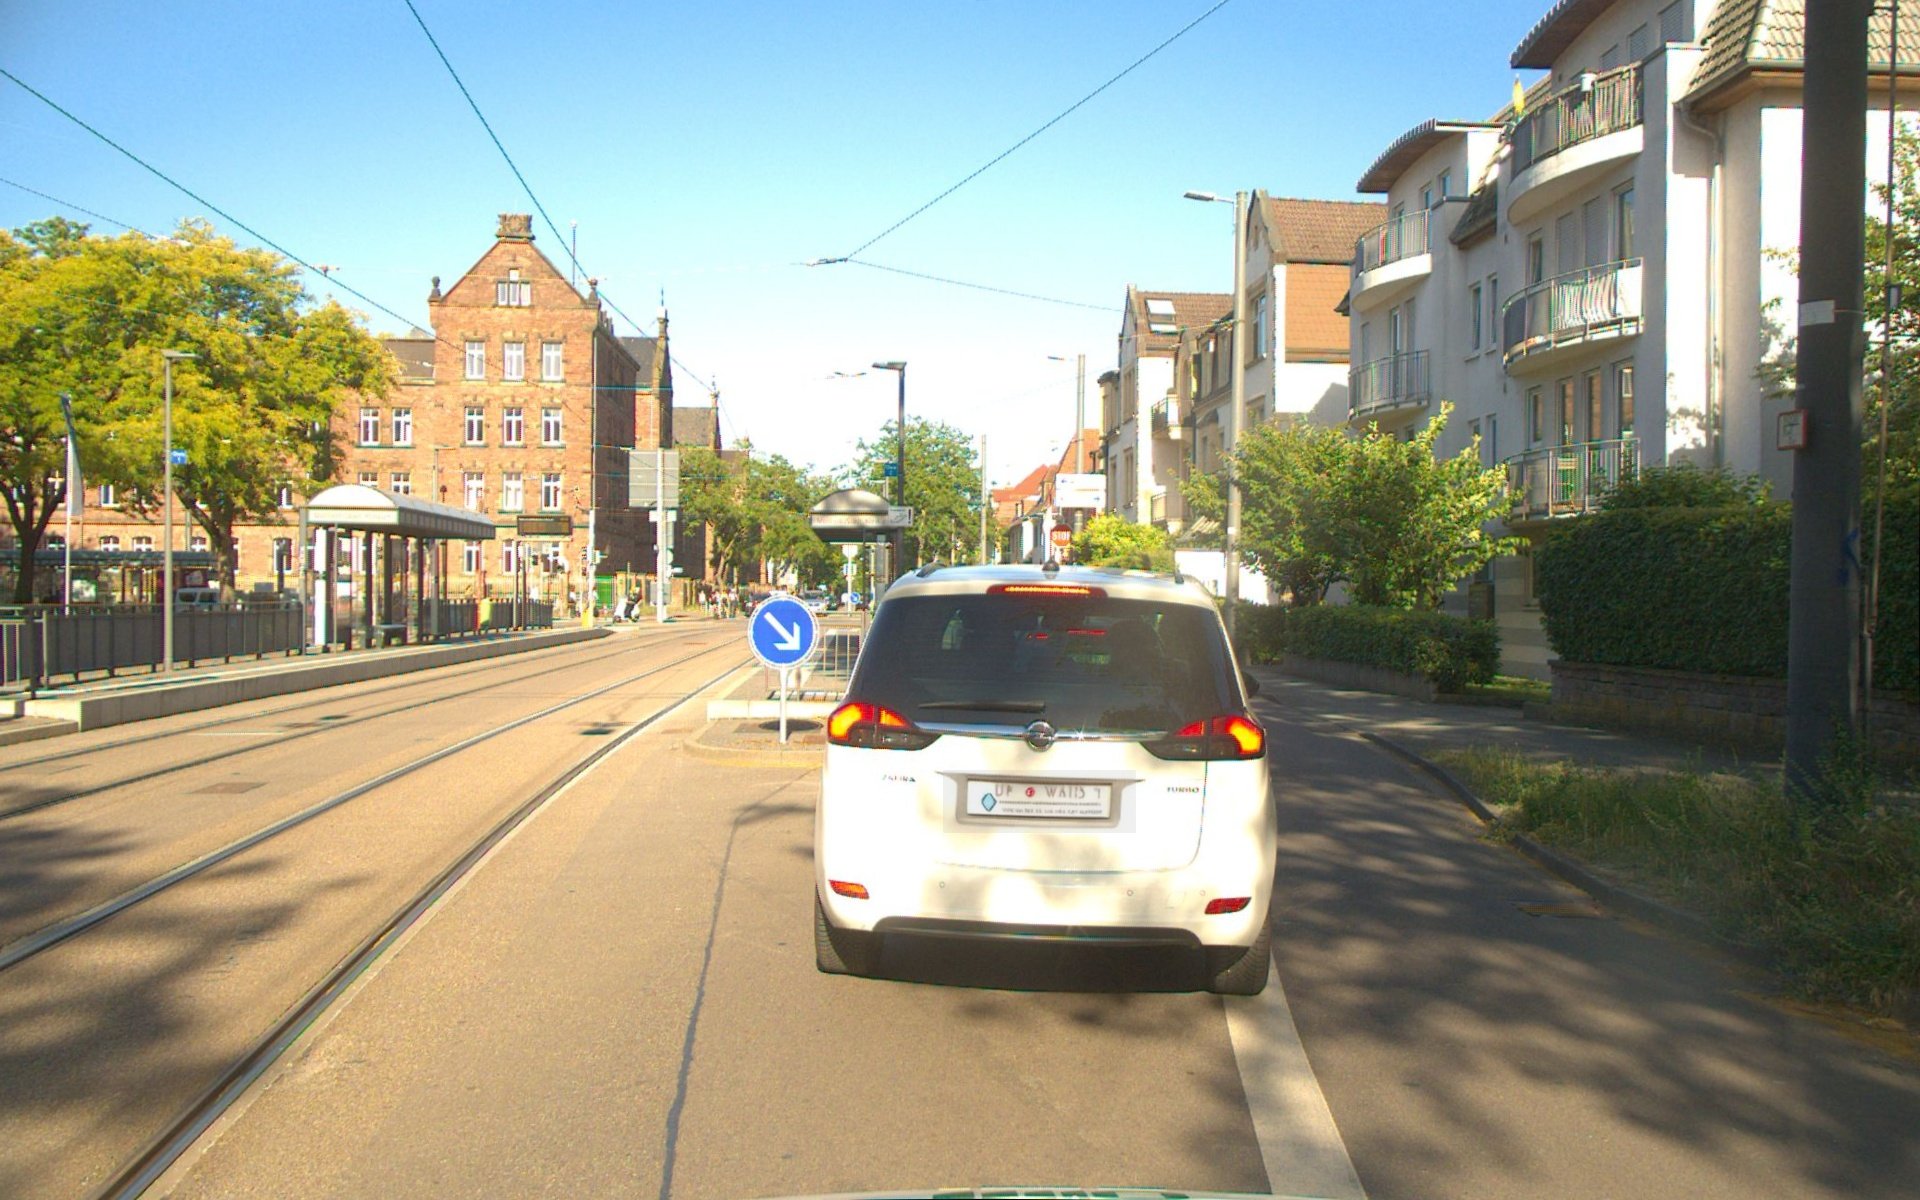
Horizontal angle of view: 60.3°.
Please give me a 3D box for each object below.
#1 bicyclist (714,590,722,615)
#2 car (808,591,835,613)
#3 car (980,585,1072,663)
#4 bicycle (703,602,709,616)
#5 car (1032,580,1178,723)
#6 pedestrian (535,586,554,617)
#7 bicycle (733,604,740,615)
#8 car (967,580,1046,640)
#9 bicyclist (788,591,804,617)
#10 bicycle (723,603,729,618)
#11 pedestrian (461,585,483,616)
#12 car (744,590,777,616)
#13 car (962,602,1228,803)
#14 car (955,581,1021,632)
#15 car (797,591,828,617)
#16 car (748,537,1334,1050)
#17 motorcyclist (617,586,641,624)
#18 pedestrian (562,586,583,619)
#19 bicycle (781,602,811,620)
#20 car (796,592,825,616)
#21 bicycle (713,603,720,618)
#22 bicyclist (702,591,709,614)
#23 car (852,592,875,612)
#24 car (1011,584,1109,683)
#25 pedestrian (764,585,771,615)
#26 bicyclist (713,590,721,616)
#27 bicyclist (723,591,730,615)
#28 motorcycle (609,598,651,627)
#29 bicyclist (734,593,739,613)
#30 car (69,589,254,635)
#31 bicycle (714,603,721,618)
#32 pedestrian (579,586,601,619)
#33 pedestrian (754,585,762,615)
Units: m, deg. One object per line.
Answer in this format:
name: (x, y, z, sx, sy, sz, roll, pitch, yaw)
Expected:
bicyclist: (-15.572, 0.180, 106.315, 0.435, 1.580, 0.495, 0, 0, -4)
car: (-10.938, 0.139, 130.474, 1.953, 1.657, 3.998, 0, 0, -3)
car: (1.380, 0.492, 36.182, 1.793, 1.607, 4.009, 0, 0, -1)
bicycle: (-17.653, 0.655, 114.850, 0.337, 0.966, 0.996, 1, 0, -4)
car: (1.741, 0.584, 20.834, 1.603, 1.629, 3.855, 0, 0, 1)
pedestrian: (-22.189, 0.075, 88.238, 0.786, 1.616, 0.934, 1, 0, -3)
bicycle: (-15.059, 0.669, 111.417, 0.337, 0.737, 0.996, 1, 0, -4)
car: (1.201, 0.257, 44.303, 1.953, 1.529, 3.999, 0, 0, -1)
bicyclist: (-9.274, 0.232, 93.511, 0.742, 1.455, 0.516, 1, -1, 5)
bicycle: (-15.391, 0.670, 108.909, 0.337, 0.966, 0.996, 1, 0, -4)
pedestrian: (-25.998, 0.008, 88.147, 0.913, 1.616, 0.804, 1, -1, -5)
car: (-12.854, 0.192, 106.878, 1.955, 1.657, 3.996, 0, 0, -5)
car: (1.031, 0.747, 13.975, 1.912, 1.422, 4.001, 0, 0, 1)
car: (0.830, 0.191, 51.758, 1.953, 1.529, 3.999, 0, 0, -1)
car: (-9.544, 0.243, 107.150, 1.955, 1.657, 3.996, 0, 0, -5)
car: (0.456, 0.647, 7.588, 1.951, 1.673, 3.996, 1, 0, 6)
motorcyclist: (-14.402, 0.200, 72.026, 0.602, 1.650, 0.843, 0, 0, 31)
pedestrian: (-20.673, 0.130, 88.221, 0.825, 1.721, 1.029, 1, 0, -1)
bicycle: (-9.266, 0.628, 93.510, 1.635, 0.969, 0.529, 0, 0, 5)
car: (-10.348, 0.259, 114.244, 1.955, 1.657, 3.996, 0, 0, -5)
bicycle: (-15.160, 0.648, 102.830, 0.337, 0.966, 1.159, 1, 0, -4)
bicyclist: (-17.646, 0.179, 114.814, 0.435, 1.580, 0.495, 0, 0, -4)
car: (-8.497, 0.171, 145.521, 1.954, 1.657, 3.997, 0, 0, -4)
car: (1.714, 0.550, 29.262, 1.603, 1.629, 3.855, 0, 0, 1)
pedestrian: (-13.044, 0.014, 112.044, 0.435, 2.049, 0.495, 0, 0, -4)
bicyclist: (-15.151, 0.173, 103.039, 0.435, 1.580, 0.742, 0, 0, -4)
bicyclist: (-15.381, 0.195, 108.902, 0.435, 1.580, 0.495, 0, 0, -4)
motorcycle: (-14.372, 0.539, 72.082, 0.600, 1.219, 2.071, 0, 0, 30)
bicyclist: (-15.057, 0.196, 111.414, 0.352, 1.326, 0.397, 0, 0, -4)
car: (-35.724, 0.520, 74.182, 6.810, 1.954, 2.991, 0, 0, -2)
bicycle: (-15.609, 0.655, 106.356, 0.337, 0.966, 0.996, 1, 0, -4)
pedestrian: (-19.642, 0.140, 87.834, 0.877, 1.713, 1.029, 1, 0, -1)
pedestrian: (-13.644, 0.003, 111.716, 0.435, 2.049, 0.495, 0, 0, -4)
